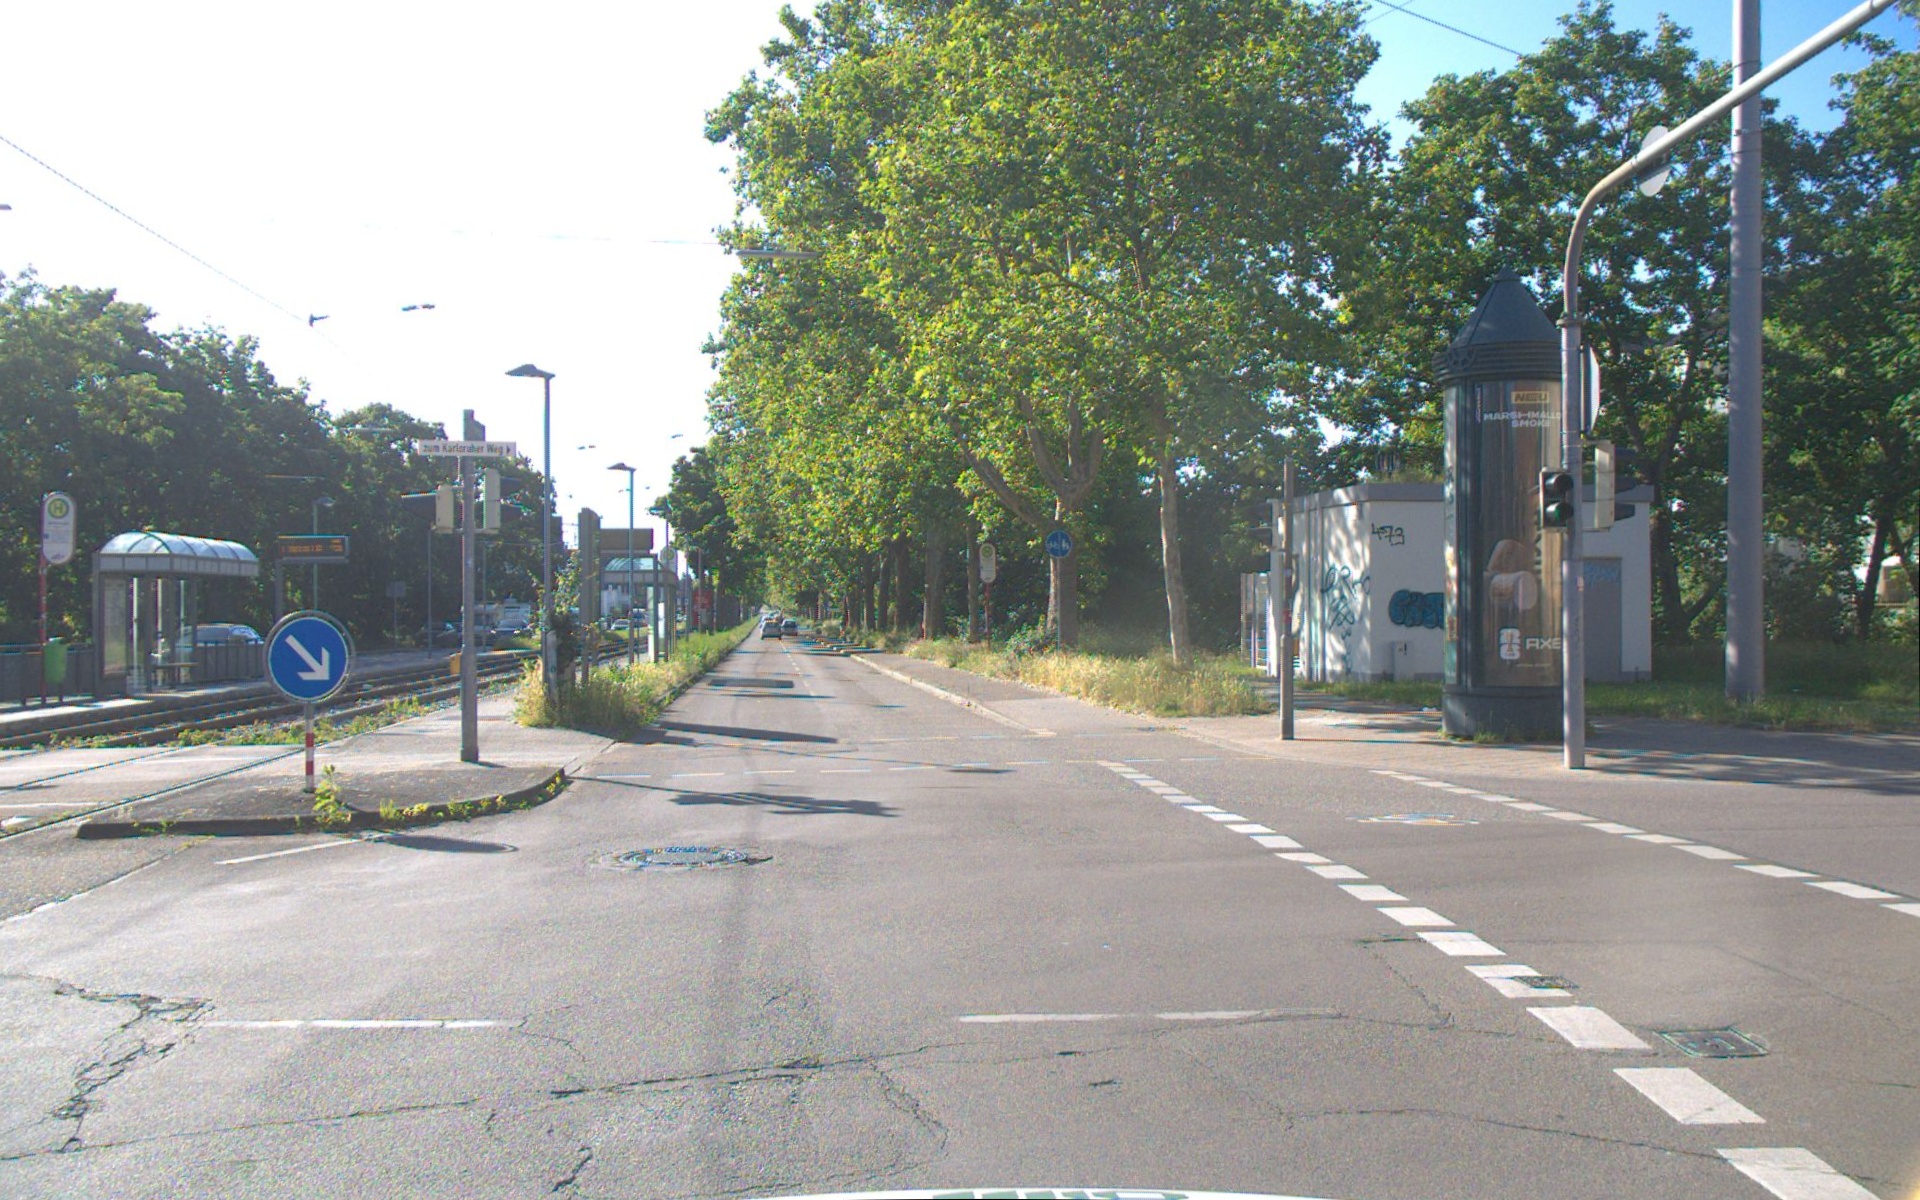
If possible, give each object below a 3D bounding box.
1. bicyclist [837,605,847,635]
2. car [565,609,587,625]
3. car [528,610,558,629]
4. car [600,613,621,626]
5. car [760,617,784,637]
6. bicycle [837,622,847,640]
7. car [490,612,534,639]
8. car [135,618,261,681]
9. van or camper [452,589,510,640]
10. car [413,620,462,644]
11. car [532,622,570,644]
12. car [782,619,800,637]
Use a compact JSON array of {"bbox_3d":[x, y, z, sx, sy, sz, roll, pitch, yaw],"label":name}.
[{"bbox_3d":[-7.158,1.224,100.165,0.524,1.801,0.711,0,0,-9],"label":"bicyclist"},{"bbox_3d":[-38.201,1.699,164.605,1.710,1.522,3.588,-1,0,-5],"label":"car"},{"bbox_3d":[-35.586,1.654,141.106,1.883,1.604,3.995,-1,0,-5],"label":"car"},{"bbox_3d":[-39.367,2.202,186.314,1.883,1.463,3.995,-1,0,-5],"label":"car"},{"bbox_3d":[-14.535,2.060,127.925,1.832,1.512,3.550,0,-1,-6],"label":"car"},{"bbox_3d":[-7.145,1.864,100.103,0.526,1.085,1.431,-1,0,-8],"label":"bicycle"},{"bbox_3d":[-26.094,1.469,96.449,1.956,1.495,4.368,0,0,-8],"label":"car"},{"bbox_3d":[-19.192,1.213,41.827,1.771,1.492,3.993,0,0,-7],"label":"car"},{"bbox_3d":[-31.465,0.934,108.767,2.540,3.160,6.778,-1,0,-7],"label":"van or camper"},{"bbox_3d":[-30.285,1.843,96.010,1.883,1.288,3.996,-1,0,-5],"label":"car"},{"bbox_3d":[-28.999,2.360,117.341,1.955,1.495,4.370,0,0,-6],"label":"car"},{"bbox_3d":[-16.695,2.748,162.972,1.717,1.632,3.744,1,0,-7],"label":"car"}]
